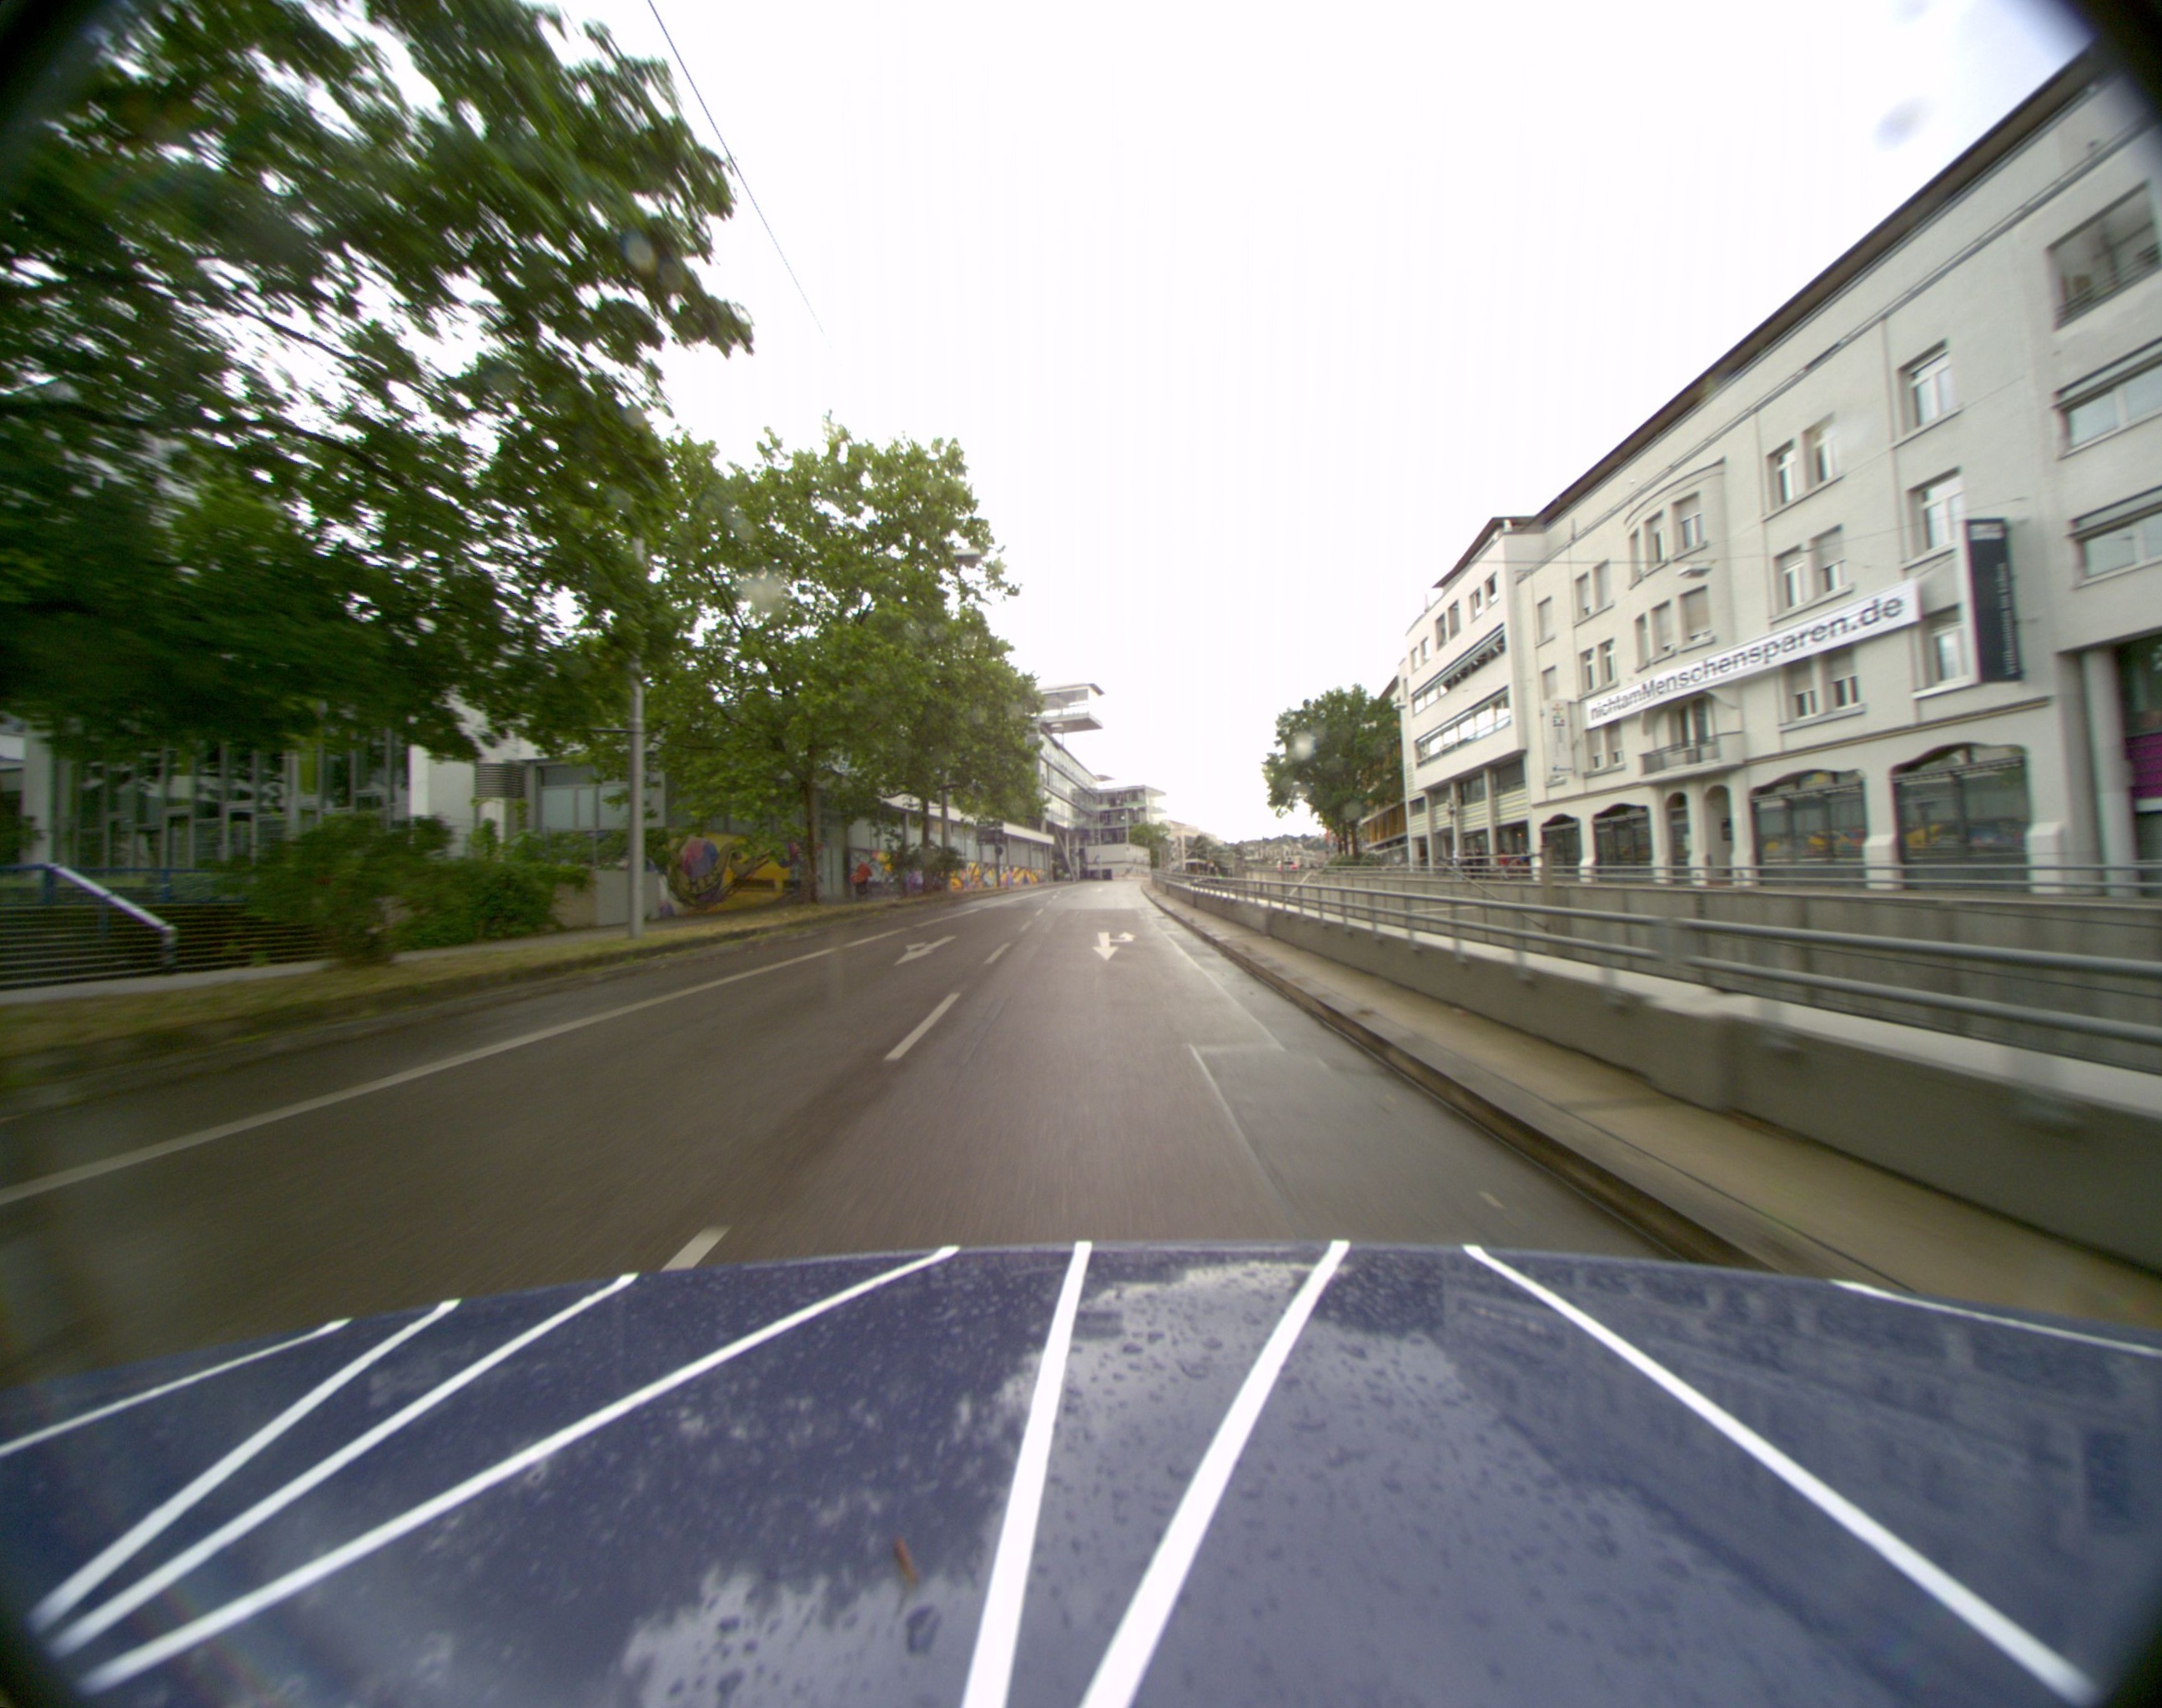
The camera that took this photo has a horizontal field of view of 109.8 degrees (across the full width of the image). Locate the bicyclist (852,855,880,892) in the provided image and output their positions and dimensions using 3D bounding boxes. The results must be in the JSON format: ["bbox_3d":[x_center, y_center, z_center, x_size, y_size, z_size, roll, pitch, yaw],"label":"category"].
[{"bbox_3d":[-9.782,0.888,34.538,0.808,1.618,1.047,-2,0,8],"label":"bicyclist"}]

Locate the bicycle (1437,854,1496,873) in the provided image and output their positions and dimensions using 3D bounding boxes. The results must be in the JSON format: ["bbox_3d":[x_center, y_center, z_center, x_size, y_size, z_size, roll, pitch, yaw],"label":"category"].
[{"bbox_3d":[24.181,0.566,47.850,1.696,1.037,4.524,-2,0,5],"label":"bicycle"}]

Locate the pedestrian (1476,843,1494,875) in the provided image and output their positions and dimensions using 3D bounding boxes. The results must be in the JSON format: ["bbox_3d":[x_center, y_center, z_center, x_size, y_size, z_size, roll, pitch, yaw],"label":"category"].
[{"bbox_3d":[22.532,0.285,42.394,0.675,1.711,0.608,-2,-1,-39],"label":"pedestrian"}]

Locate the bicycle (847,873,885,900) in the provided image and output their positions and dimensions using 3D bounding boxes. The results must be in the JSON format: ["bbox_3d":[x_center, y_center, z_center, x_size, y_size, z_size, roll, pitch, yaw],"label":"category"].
[{"bbox_3d":[-9.761,1.467,34.536,0.808,1.105,2.199,-2,0,8],"label":"bicycle"}]

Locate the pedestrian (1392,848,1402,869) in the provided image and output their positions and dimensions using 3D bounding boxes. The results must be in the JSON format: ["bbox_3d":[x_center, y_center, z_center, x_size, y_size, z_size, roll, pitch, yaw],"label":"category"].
[{"bbox_3d":[28.255,0.432,67.934,0.666,1.838,0.831,0,-1,10],"label":"pedestrian"}]

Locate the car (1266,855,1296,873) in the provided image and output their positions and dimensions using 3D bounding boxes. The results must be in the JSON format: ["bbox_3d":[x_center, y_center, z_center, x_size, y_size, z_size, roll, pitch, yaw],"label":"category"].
[{"bbox_3d":[19.309,0.981,73.412,1.841,1.702,4.579,-2,-1,3],"label":"car"}]

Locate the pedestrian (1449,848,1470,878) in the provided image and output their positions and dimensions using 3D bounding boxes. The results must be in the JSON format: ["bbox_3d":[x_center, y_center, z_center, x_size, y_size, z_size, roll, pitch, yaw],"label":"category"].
[{"bbox_3d":[21.376,0.515,42.909,0.675,1.633,0.793,-2,-1,-42],"label":"pedestrian"}]

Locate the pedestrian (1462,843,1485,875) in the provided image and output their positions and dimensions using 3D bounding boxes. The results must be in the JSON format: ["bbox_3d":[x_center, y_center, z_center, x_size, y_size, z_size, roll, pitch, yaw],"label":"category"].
[{"bbox_3d":[22.554,0.306,43.698,0.674,1.774,0.941,-2,-1,-14],"label":"pedestrian"}]

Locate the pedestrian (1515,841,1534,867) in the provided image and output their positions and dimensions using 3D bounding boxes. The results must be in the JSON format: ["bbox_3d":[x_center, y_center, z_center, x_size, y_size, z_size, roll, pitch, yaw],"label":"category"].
[{"bbox_3d":[24.541,0.024,42.028,0.608,1.410,0.674,-2,-1,6],"label":"pedestrian"}]

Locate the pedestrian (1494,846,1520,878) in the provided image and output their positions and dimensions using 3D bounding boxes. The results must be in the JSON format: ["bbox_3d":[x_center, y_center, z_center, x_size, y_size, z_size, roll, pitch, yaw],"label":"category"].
[{"bbox_3d":[22.130,0.421,39.476,0.674,1.606,0.941,-2,-1,-14],"label":"pedestrian"}]
